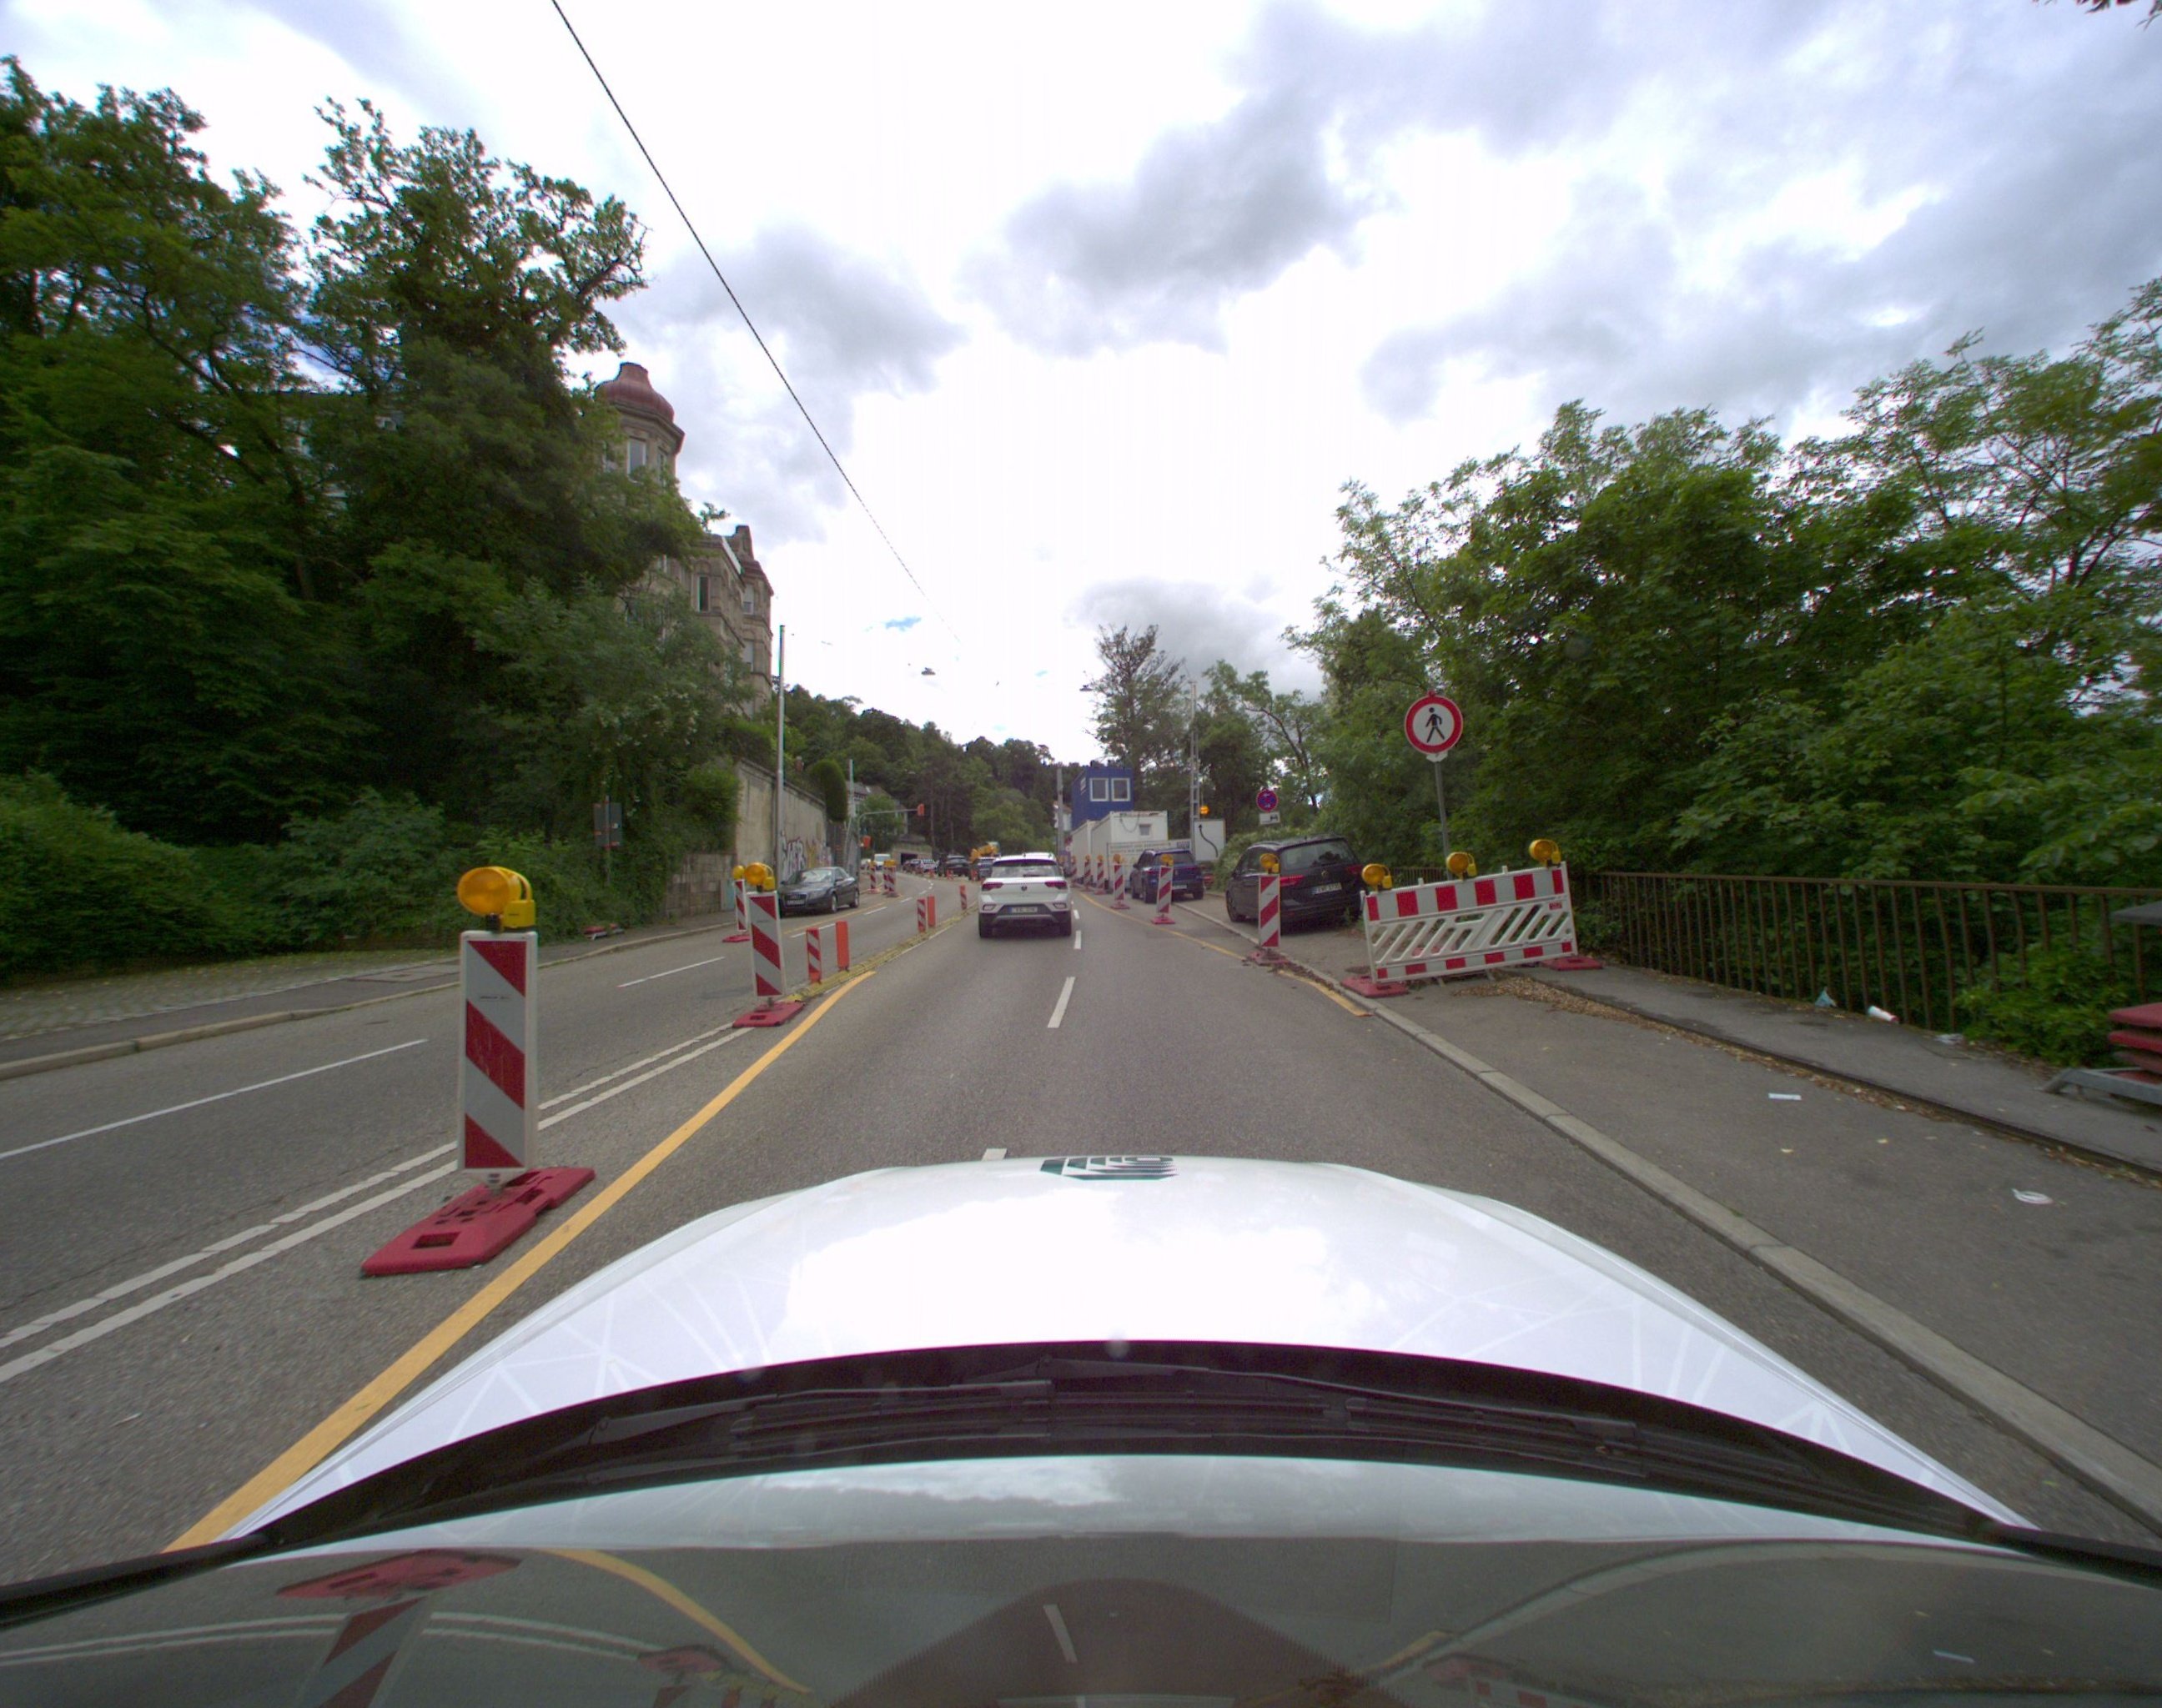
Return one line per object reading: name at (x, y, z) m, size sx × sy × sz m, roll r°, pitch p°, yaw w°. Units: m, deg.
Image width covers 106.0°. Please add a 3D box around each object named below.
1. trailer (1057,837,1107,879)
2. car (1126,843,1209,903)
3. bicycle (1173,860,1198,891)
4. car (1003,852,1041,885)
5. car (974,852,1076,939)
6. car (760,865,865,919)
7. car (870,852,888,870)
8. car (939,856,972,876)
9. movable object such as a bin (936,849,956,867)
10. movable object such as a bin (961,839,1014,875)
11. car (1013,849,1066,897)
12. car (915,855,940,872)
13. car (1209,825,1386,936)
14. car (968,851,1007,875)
trailer at (0.007, 0.287, 54.050) m, size 2.109 × 2.550 × 5.095 m, roll -2°, pitch 0°, yaw -13°
car at (2.722, 0.585, 26.639) m, size 1.836 × 1.642 × 4.496 m, roll -5°, pitch 0°, yaw -4°
bicycle at (4.041, 0.820, 31.545) m, size 0.498 × 1.107 × 1.797 m, roll -4°, pitch 0°, yaw -5°
car at (-3.280, 0.777, 44.702) m, size 1.809 × 1.663 × 3.989 m, roll -2°, pitch 0°, yaw -8°
car at (-1.152, 0.760, 16.780) m, size 1.806 × 1.531 × 3.994 m, roll -2°, pitch 0°, yaw -4°
car at (-8.188, 1.099, 25.282) m, size 1.794 × 1.373 × 4.385 m, roll -3°, pitch 0°, yaw -1°
car at (-25.355, 0.862, 102.256) m, size 2.071 × 2.187 × 4.937 m, roll -3°, pitch 0°, yaw -15°
car at (-10.142, 0.986, 65.764) m, size 1.801 × 1.510 × 3.972 m, roll -2°, pitch 0°, yaw -21°
movable object such as a bin at (-20.604, 0.601, 124.651) m, size 2.204 × 2.663 × 4.944 m, roll 0°, pitch 0°, yaw 0°
movable object such as a bin at (-8.469, 0.311, 72.712) m, size 2.822 × 3.071 × 7.767 m, roll 0°, pitch -1°, yaw -21°
car at (-1.540, 0.681, 30.848) m, size 1.805 × 1.663 × 3.996 m, roll -2°, pitch 0°, yaw -2°
car at (-15.228, 0.945, 80.578) m, size 1.801 × 1.510 × 3.972 m, roll -2°, pitch 0°, yaw -21°
car at (4.017, 0.466, 16.049) m, size 1.858 × 1.674 × 4.640 m, roll -6°, pitch 0°, yaw -3°
car at (-6.351, 0.627, 55.033) m, size 1.799 × 1.510 × 3.975 m, roll -2°, pitch 0°, yaw -18°
